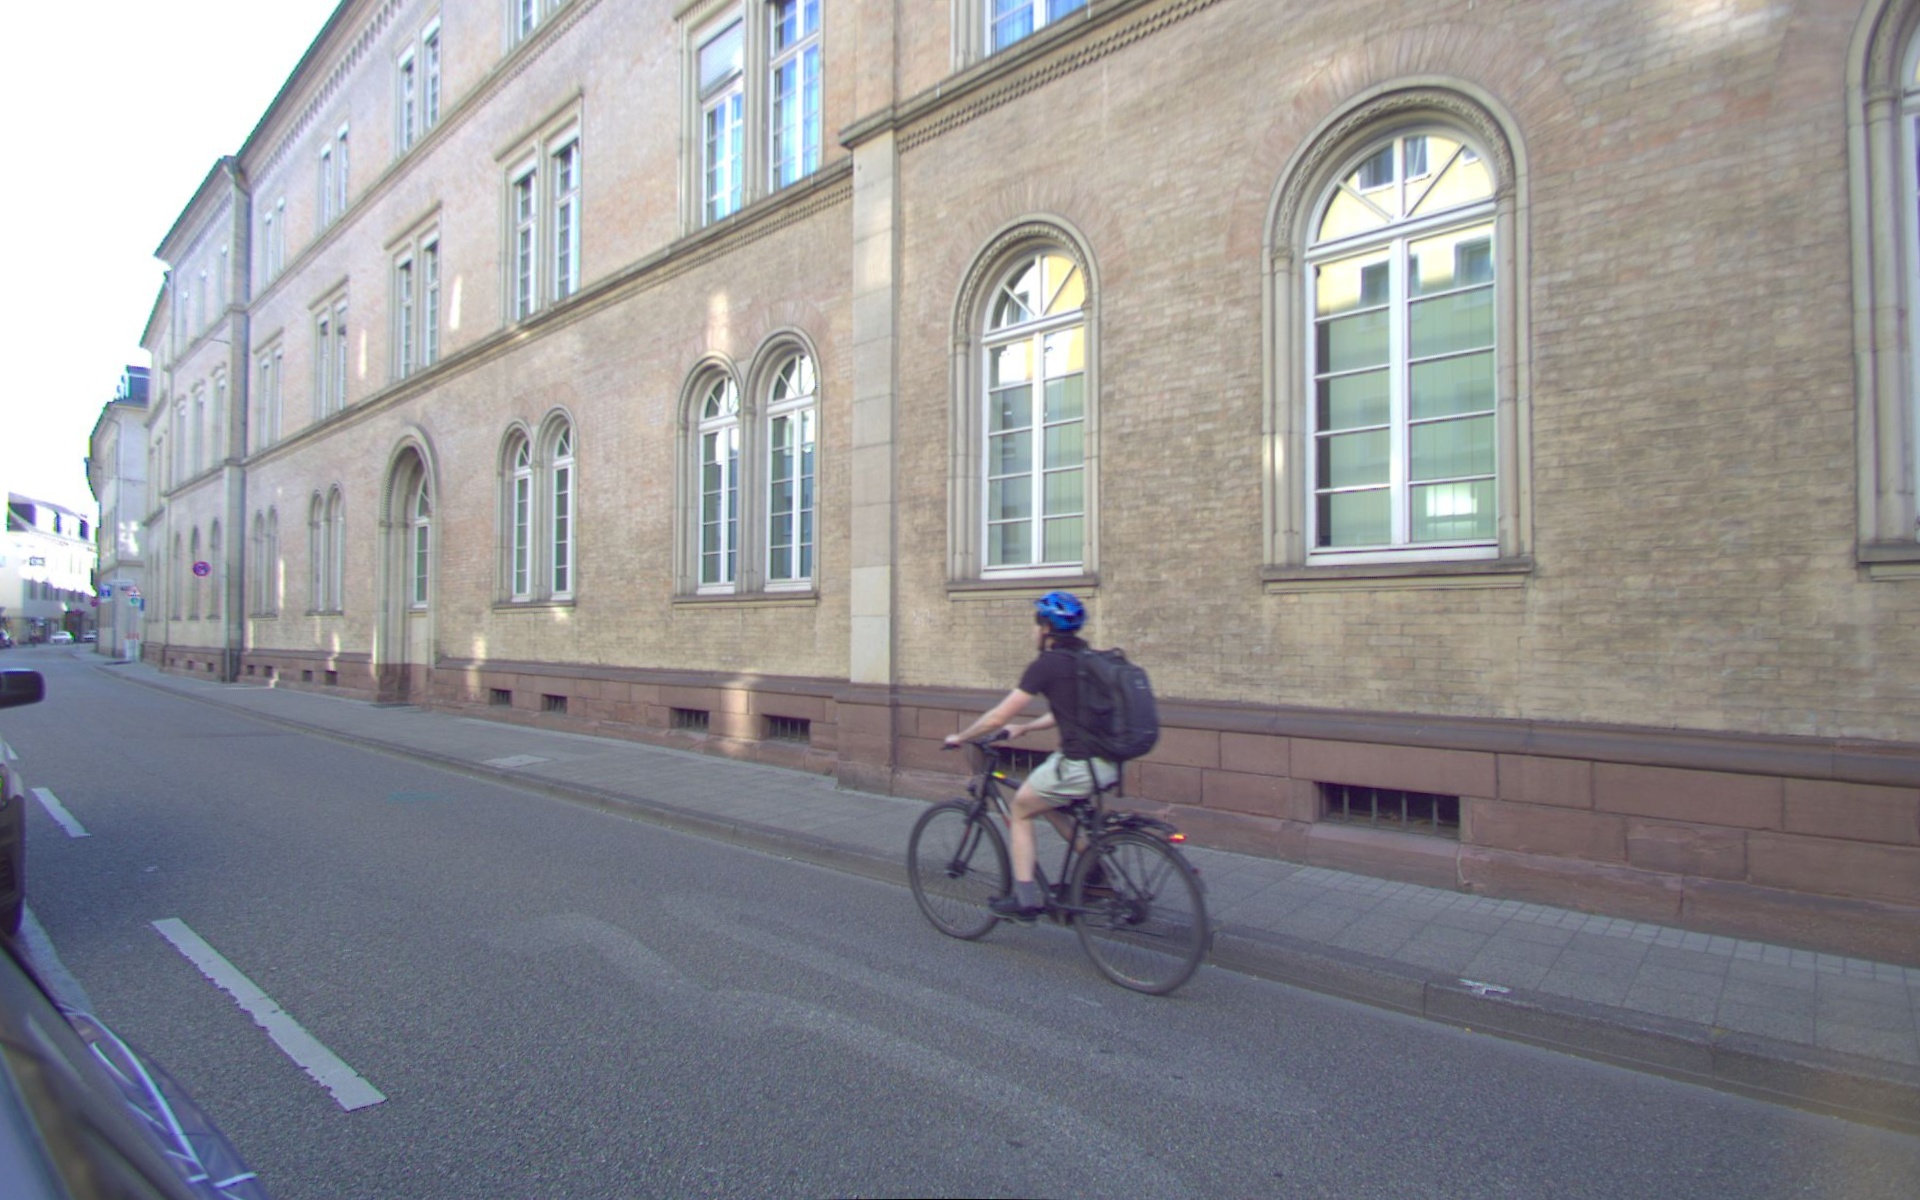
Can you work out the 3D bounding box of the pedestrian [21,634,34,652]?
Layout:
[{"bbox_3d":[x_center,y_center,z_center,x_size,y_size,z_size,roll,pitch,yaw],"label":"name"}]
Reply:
[{"bbox_3d":[-86.691,4.019,94.102,0.694,1.648,0.834,5,-4,-36],"label":"pedestrian"}]

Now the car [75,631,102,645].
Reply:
[{"bbox_3d":[-109.225,4.757,126.840,1.966,1.665,4.240,-1,0,-33],"label":"car"}]

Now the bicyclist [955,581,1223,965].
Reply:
[{"bbox_3d":[0.573,0.709,4.649,1.078,1.539,0.584,-2,-3,40],"label":"bicyclist"}]

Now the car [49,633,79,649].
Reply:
[{"bbox_3d":[-102.852,4.680,116.187,1.966,1.665,4.240,-1,0,-33],"label":"car"}]

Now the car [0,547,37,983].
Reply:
[{"bbox_3d":[-6.434,0.684,5.315,5.329,1.784,1.747,-1,-2,41],"label":"car"}]

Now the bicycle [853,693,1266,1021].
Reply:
[{"bbox_3d":[0.382,1.075,4.793,1.968,1.161,0.584,-2,-3,41],"label":"bicycle"}]
